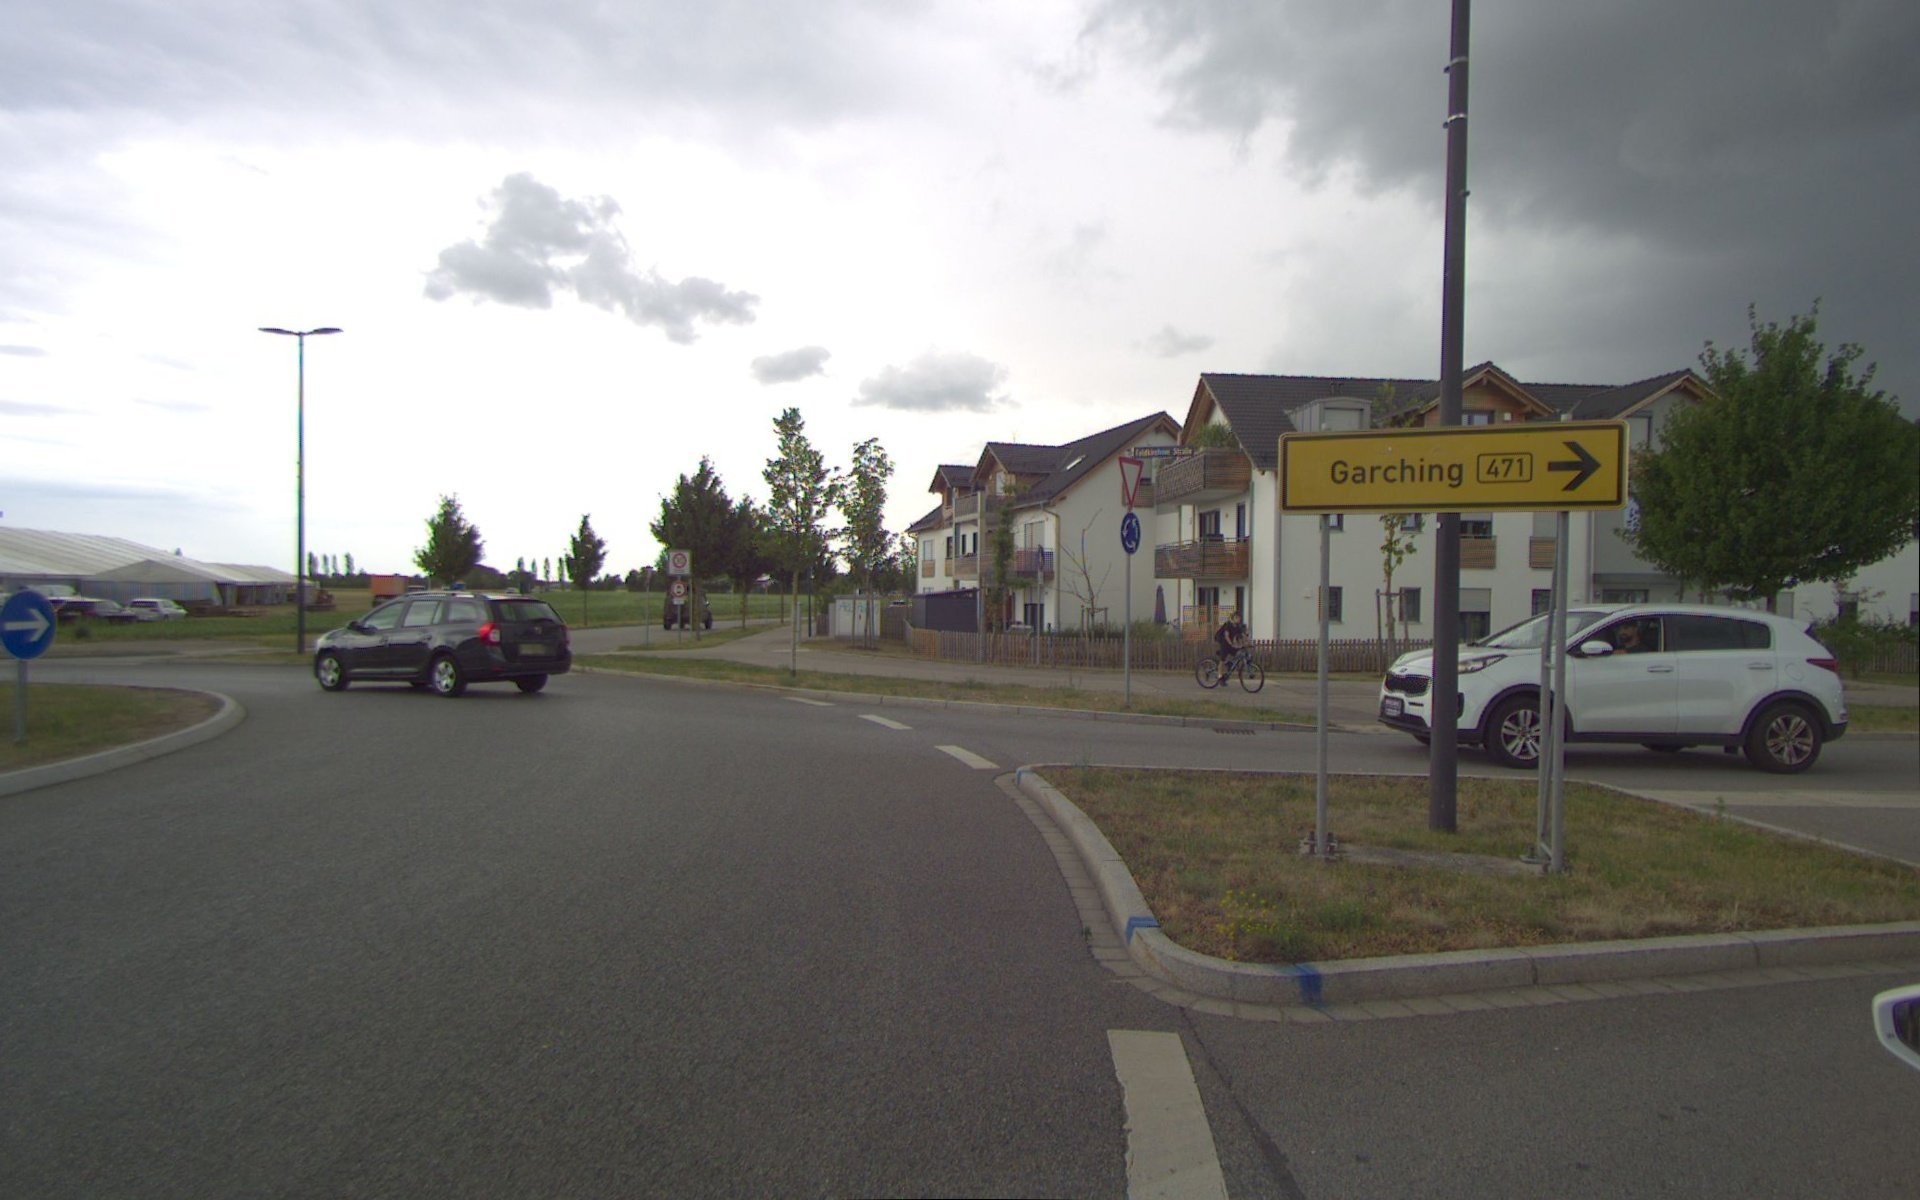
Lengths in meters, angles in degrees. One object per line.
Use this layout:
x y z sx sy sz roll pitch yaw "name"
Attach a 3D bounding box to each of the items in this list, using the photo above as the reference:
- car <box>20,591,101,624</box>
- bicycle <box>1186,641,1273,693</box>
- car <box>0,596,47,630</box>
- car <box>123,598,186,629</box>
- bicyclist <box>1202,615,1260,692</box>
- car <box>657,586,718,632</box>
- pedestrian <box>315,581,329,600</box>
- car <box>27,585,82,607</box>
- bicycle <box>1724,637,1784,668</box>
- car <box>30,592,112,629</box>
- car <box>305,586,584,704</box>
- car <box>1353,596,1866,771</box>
-45.741 0.357 51.168 1.808 1.628 3.810 1 0 -21 "car"
5.295 1.303 19.835 0.493 0.959 1.694 1 -1 -39 "bicycle"
-48.071 0.636 50.611 1.808 1.628 3.810 1 0 -21 "car"
-42.507 0.686 53.087 1.708 1.574 3.974 1 0 -25 "car"
5.343 1.039 19.808 0.719 1.466 0.859 1 -1 -41 "bicyclist"
-14.440 0.425 53.541 1.960 2.284 4.571 1 1 0 "car"
-69.039 -1.075 108.631 1.035 2.041 1.057 1 1 -17 "pedestrian"
-68.143 -0.317 75.658 1.808 1.628 3.811 1 1 -21 "car"
23.729 1.565 30.012 1.517 0.855 0.368 1 3 -4 "bicycle"
-41.198 0.469 46.544 3.805 1.628 1.633 1 1 28 "car"
-8.095 0.618 15.723 4.200 1.585 1.771 1 1 27 "car"
6.690 0.826 10.660 4.363 1.647 1.714 1 0 -2 "car"
